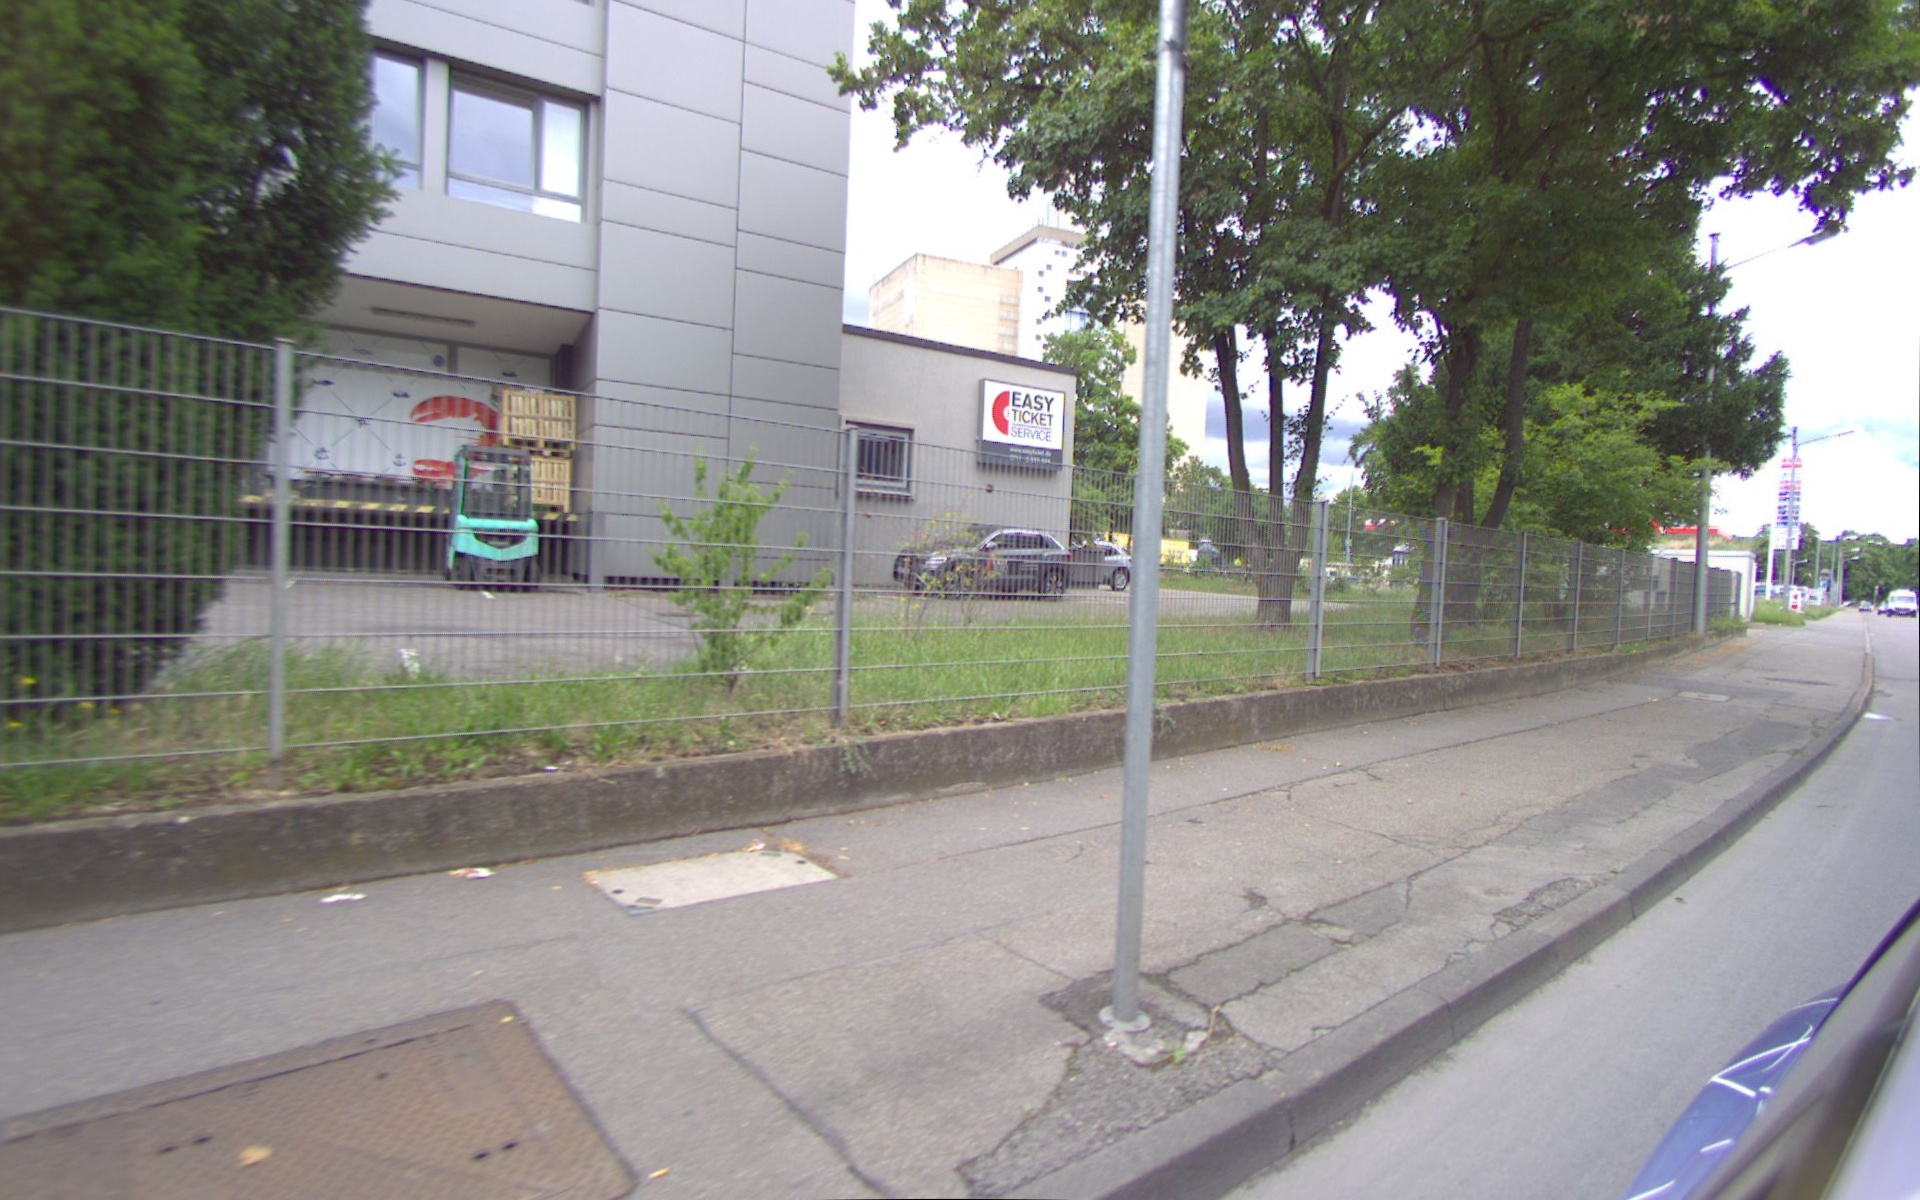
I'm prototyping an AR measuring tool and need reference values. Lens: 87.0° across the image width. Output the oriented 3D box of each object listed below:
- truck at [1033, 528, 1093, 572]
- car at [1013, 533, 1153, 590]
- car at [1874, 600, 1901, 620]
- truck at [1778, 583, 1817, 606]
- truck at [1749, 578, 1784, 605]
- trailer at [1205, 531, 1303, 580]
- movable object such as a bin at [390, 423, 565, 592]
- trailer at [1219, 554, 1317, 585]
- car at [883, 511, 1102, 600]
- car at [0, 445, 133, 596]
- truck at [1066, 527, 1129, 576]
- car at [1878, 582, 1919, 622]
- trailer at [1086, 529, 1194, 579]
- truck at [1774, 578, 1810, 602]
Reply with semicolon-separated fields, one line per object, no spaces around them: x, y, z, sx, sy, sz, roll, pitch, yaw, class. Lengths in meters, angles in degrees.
10.056;-4.798;98.428;2.689;3.962;5.951;5;3;41;truck
4.197;-1.289;34.384;4.353;1.631;2.003;2;2;-32;car
101.034;1.097;110.248;1.704;2.038;3.837;4;2;37;car
145.525;-0.928;175.982;2.800;3.757;9.029;3;2;24;truck
129.096;-1.380;162.000;2.848;4.062;6.693;4;2;27;truck
27.519;-4.045;94.032;2.998;3.962;14.088;5;3;41;trailer
-7.904;-1.428;16.368;1.915;2.333;4.003;1;3;-34;movable object such as a bin
45.855;-4.730;151.978;3.565;4.224;18.548;2;2;-20;trailer
0.745;-0.944;22.103;4.356;1.585;2.003;2;4;-34;car
-10.485;-0.789;9.252;1.963;1.491;4.694;3;3;1;car
13.060;-4.533;95.931;3.043;4.314;5.951;5;3;41;truck
90.393;0.216;96.658;3.326;3.652;8.547;4;2;39;car
18.410;-4.520;102.064;3.019;4.312;15.490;5;3;41;trailer
134.024;-1.652;163.036;2.848;3.674;6.693;4;2;27;truck
